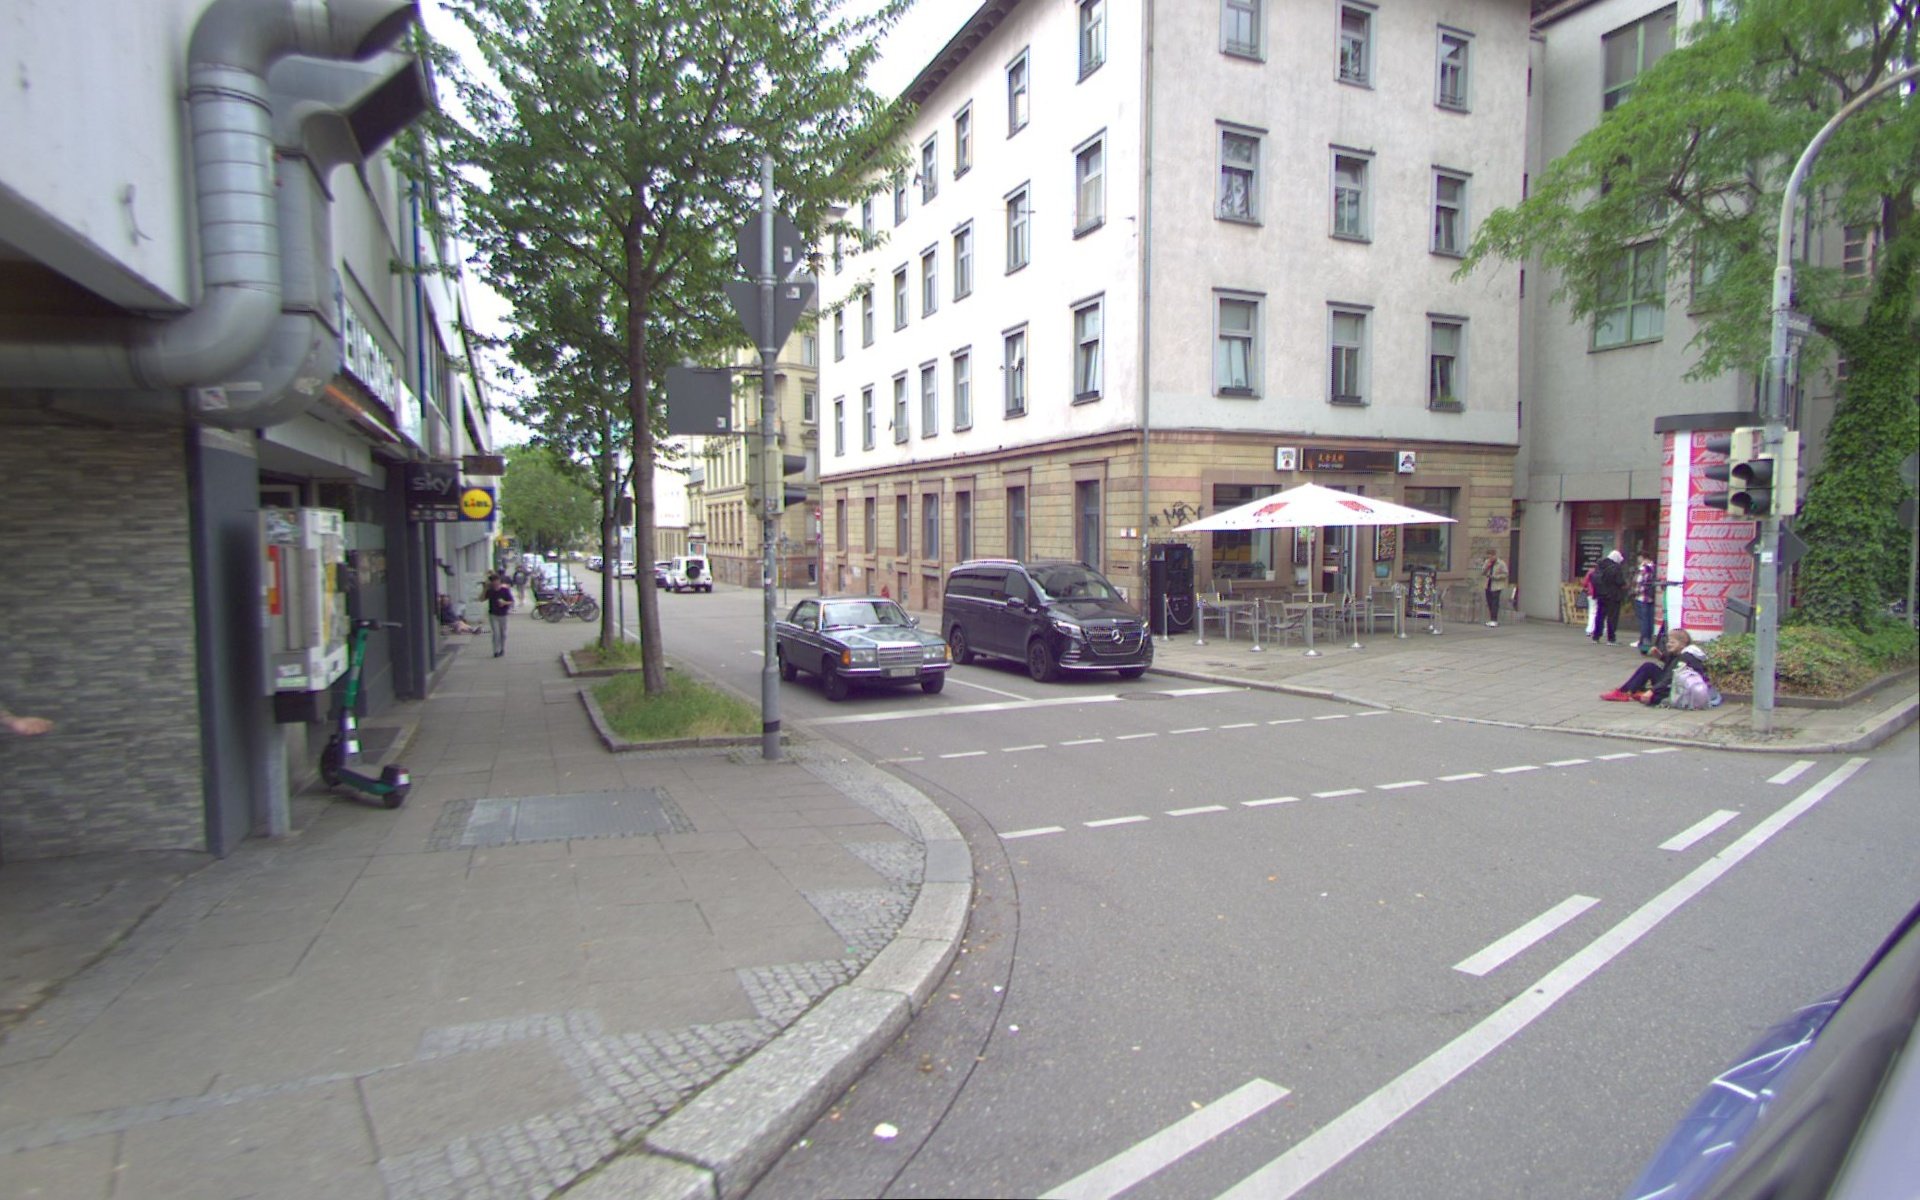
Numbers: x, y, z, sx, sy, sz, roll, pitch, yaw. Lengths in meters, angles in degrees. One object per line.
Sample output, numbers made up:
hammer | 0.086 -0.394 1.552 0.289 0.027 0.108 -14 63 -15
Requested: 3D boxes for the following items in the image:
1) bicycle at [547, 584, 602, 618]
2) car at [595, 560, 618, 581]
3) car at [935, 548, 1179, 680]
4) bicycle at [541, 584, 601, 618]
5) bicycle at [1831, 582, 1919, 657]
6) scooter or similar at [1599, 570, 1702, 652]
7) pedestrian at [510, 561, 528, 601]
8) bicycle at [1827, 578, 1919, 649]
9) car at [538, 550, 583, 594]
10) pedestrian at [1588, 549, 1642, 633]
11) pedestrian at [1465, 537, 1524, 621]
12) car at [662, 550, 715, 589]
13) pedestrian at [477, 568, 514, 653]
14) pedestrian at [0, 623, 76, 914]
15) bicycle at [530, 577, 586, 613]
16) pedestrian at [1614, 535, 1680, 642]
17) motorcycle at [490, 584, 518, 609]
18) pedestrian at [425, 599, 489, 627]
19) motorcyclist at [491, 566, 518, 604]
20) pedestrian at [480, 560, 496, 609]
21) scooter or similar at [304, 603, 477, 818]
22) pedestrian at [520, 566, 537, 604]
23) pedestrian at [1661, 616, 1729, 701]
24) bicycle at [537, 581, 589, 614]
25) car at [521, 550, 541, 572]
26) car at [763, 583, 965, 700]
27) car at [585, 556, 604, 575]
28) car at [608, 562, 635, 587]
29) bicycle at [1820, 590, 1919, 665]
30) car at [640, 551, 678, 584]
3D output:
bicycle | -12.490 0.033 32.817 1.631 1.073 0.560 0 1 -25
car | -34.467 -2.885 98.588 1.958 2.039 4.009 0 1 -21
car | 1.455 0.131 17.598 1.958 1.931 5.162 -1 2 -24
bicycle | -12.853 0.022 33.466 1.798 1.075 0.735 0 1 -25
bicycle | 16.621 0.343 17.900 0.533 1.236 1.742 0 4 -44
scooter or similar | 11.570 0.160 17.015 0.618 1.269 1.393 1 4 -5
pedestrian | -19.260 -0.838 44.193 0.687 1.731 0.672 0 1 -19
bicycle | 17.114 0.234 18.622 0.533 1.236 1.689 0 3 -44
car | -19.403 -1.336 49.055 1.838 2.038 4.008 0 1 -24
pedestrian | 12.307 -0.184 19.023 0.651 1.542 0.625 0 1 -35
pedestrian | 12.091 -0.482 22.906 0.720 1.856 0.905 1 1 -12
car | -15.083 -1.691 56.080 2.211 2.039 4.008 0 1 -24
pedestrian | -9.790 0.204 21.341 0.640 1.731 0.936 0 1 -20
pedestrian | -4.488 0.727 4.344 0.727 1.203 1.112 0 1 -23
bicycle | -14.123 -0.170 35.587 1.798 1.223 0.630 0 1 -25
pedestrian | 12.666 -0.217 18.656 0.863 1.913 0.707 0 1 -35
motorcycle | -16.368 -0.133 36.381 0.804 0.821 2.767 0 2 -22
pedestrian | -13.460 0.349 27.124 1.511 0.736 0.661 1 1 -24
motorcyclist | -16.427 -0.556 36.533 0.806 1.327 1.363 0 1 -22
pedestrian | -19.732 -0.651 42.354 0.589 2.039 0.572 0 1 -24
scooter or similar | -4.105 0.722 7.271 1.383 1.366 0.589 1 1 37
pedestrian | -19.596 -0.680 45.973 0.640 1.731 0.668 0 1 -20
pedestrian | 8.436 0.658 11.615 0.572 0.921 0.485 0 1 -38
bicycle | -13.611 -0.094 34.713 1.619 1.115 0.523 0 1 -25
car | -41.778 -3.801 98.477 1.659 2.038 3.729 0 1 -25
car | -1.651 0.501 15.579 1.725 1.373 4.603 -2 3 -23
car | -41.795 -3.908 115.595 1.958 2.039 4.009 0 1 -21
car | -28.405 -2.140 84.943 1.958 2.039 4.009 0 1 -21
bicycle | 15.770 0.454 17.428 0.533 1.237 1.421 0 1 -44
car | -19.430 -2.112 65.333 1.958 2.038 4.009 0 2 -22
